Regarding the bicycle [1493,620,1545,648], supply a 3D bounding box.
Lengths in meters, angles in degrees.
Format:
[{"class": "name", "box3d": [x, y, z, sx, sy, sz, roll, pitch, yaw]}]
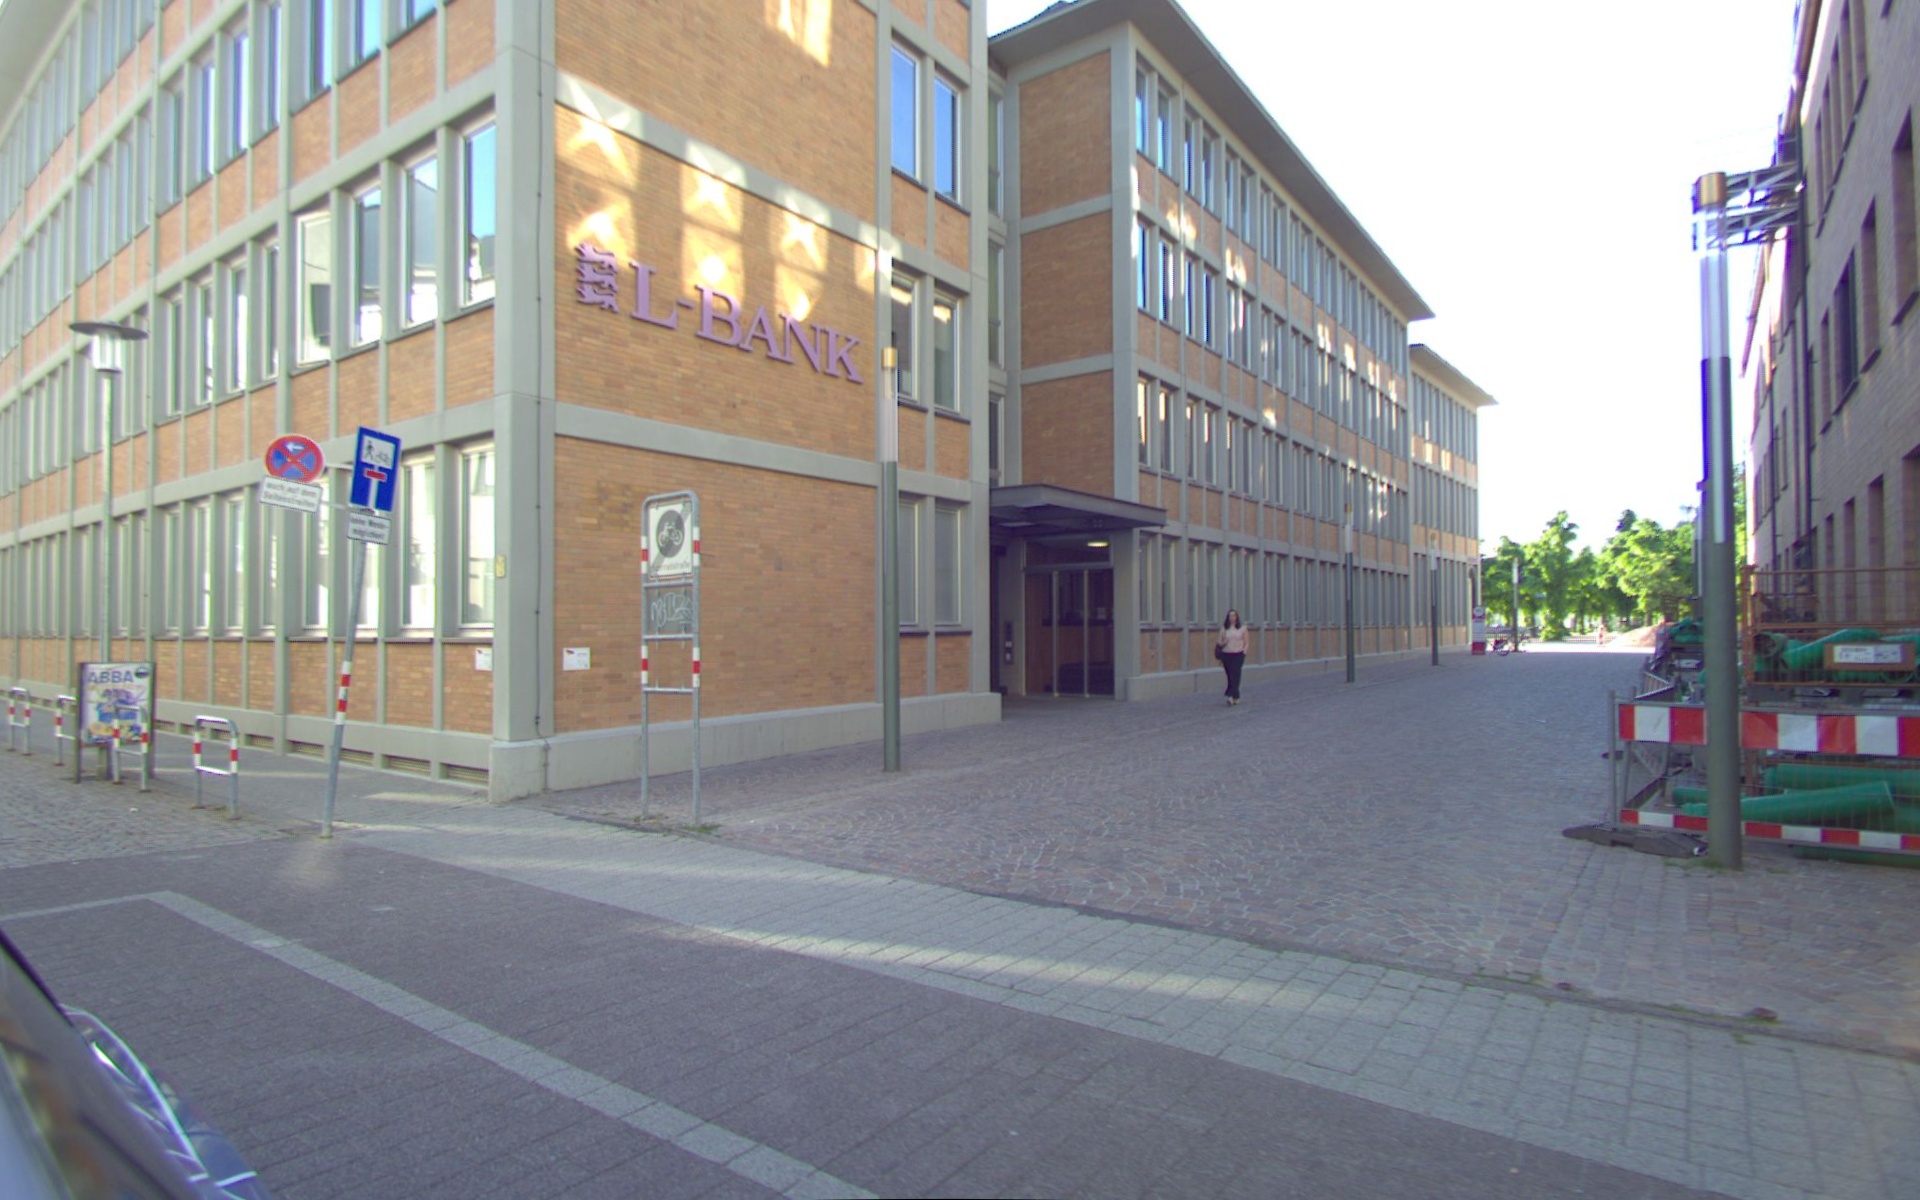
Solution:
[{"class": "bicycle", "box3d": [26.478, 1.603, 47.944, 2.042, 1.270, 0.725, -1, -1, -6]}]

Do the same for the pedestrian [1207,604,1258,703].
[{"class": "pedestrian", "box3d": [5.037, 0.975, 18.706, 0.692, 1.793, 0.689, -2, -2, 35]}]
